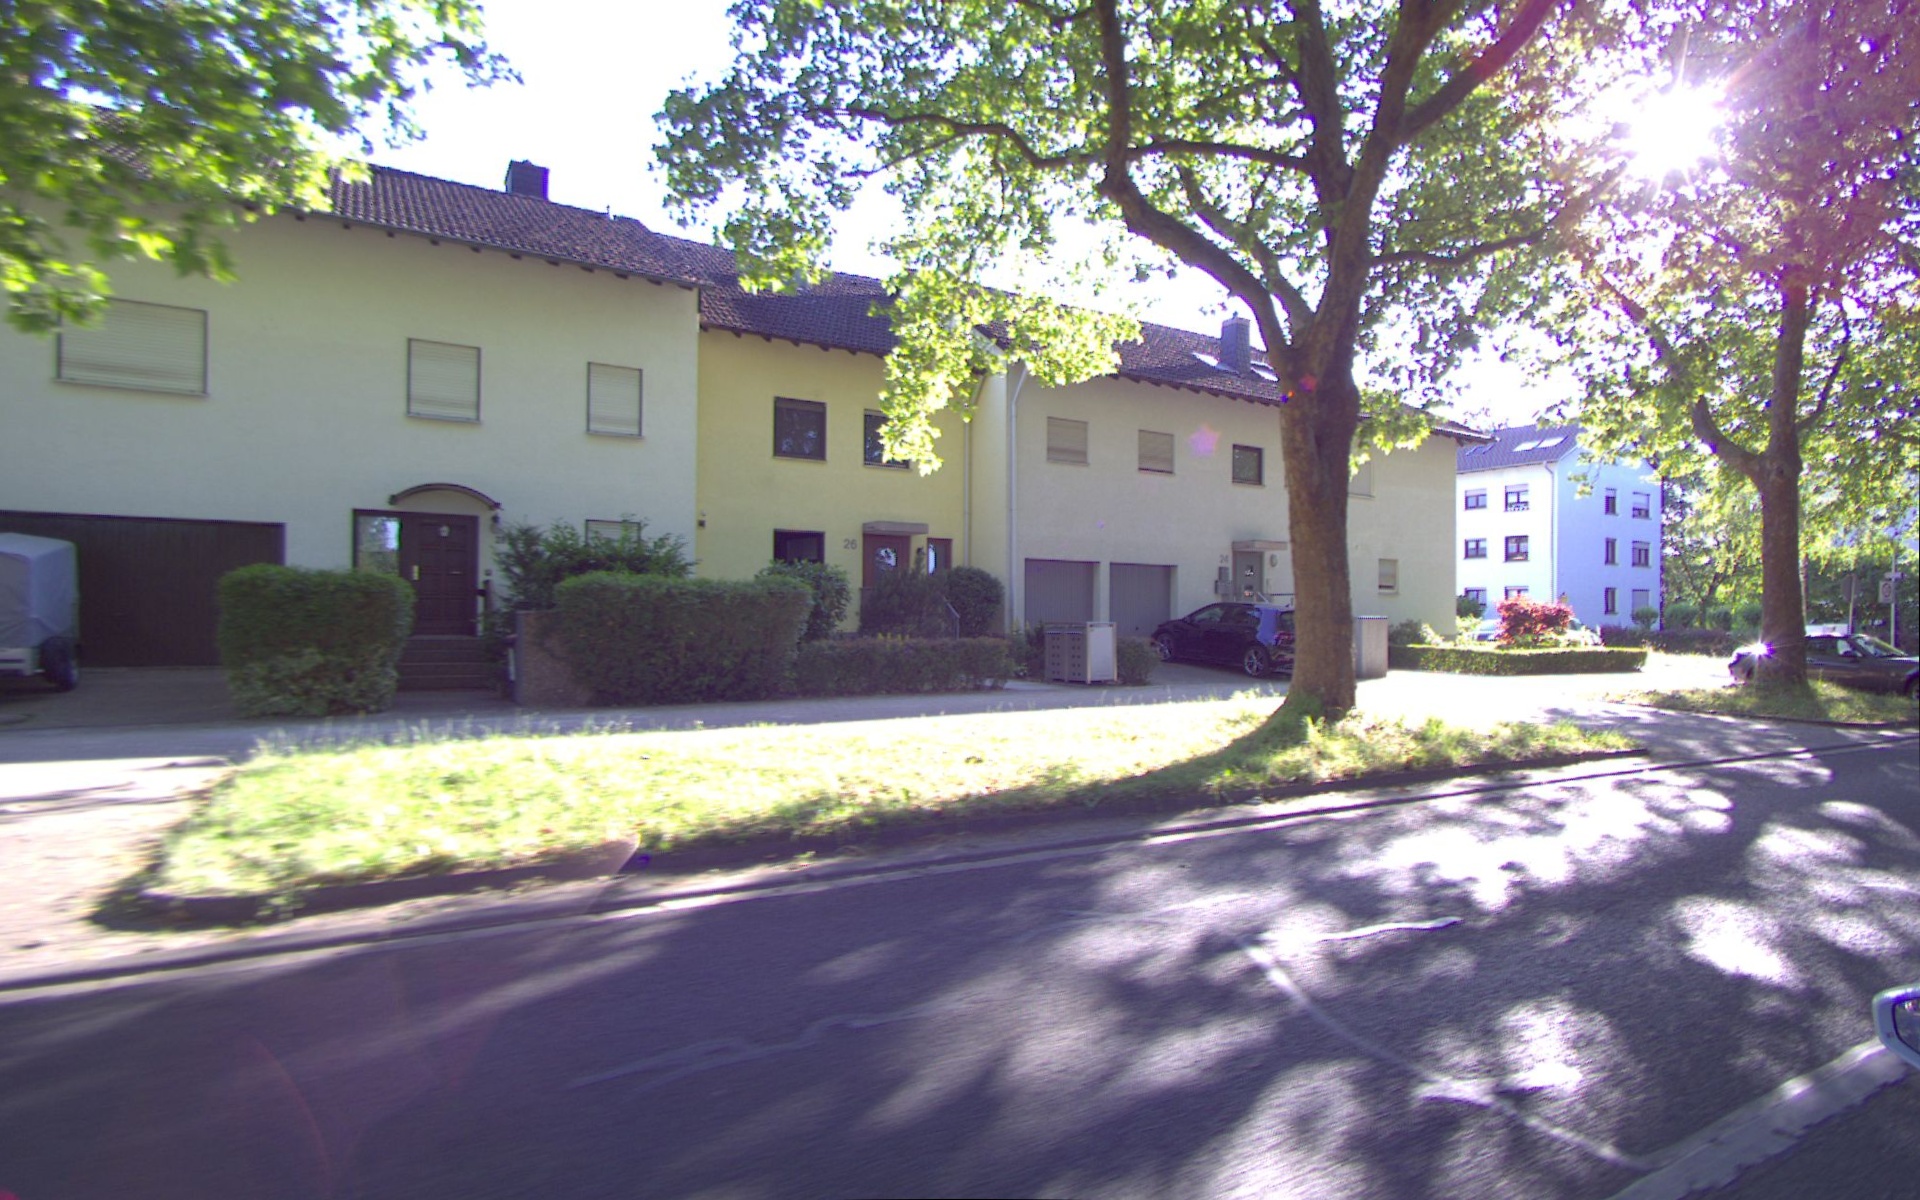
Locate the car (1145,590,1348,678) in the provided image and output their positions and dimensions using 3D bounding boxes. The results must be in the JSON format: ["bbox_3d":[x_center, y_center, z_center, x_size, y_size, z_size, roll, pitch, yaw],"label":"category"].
[{"bbox_3d":[5.986,0.658,21.457,1.878,1.484,3.969,1,3,-29],"label":"car"}]

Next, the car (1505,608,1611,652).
[{"bbox_3d":[23.601,1.171,39.650,3.955,1.596,1.983,1,0,-32],"label":"car"}]

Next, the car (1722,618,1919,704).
[{"bbox_3d":[16.560,1.088,18.361,1.768,1.334,3.807,1,1,-29],"label":"car"}]

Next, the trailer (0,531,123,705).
[{"bbox_3d":[-12.144,0.118,12.864,1.624,1.952,3.435,-1,4,-31],"label":"trailer"}]
